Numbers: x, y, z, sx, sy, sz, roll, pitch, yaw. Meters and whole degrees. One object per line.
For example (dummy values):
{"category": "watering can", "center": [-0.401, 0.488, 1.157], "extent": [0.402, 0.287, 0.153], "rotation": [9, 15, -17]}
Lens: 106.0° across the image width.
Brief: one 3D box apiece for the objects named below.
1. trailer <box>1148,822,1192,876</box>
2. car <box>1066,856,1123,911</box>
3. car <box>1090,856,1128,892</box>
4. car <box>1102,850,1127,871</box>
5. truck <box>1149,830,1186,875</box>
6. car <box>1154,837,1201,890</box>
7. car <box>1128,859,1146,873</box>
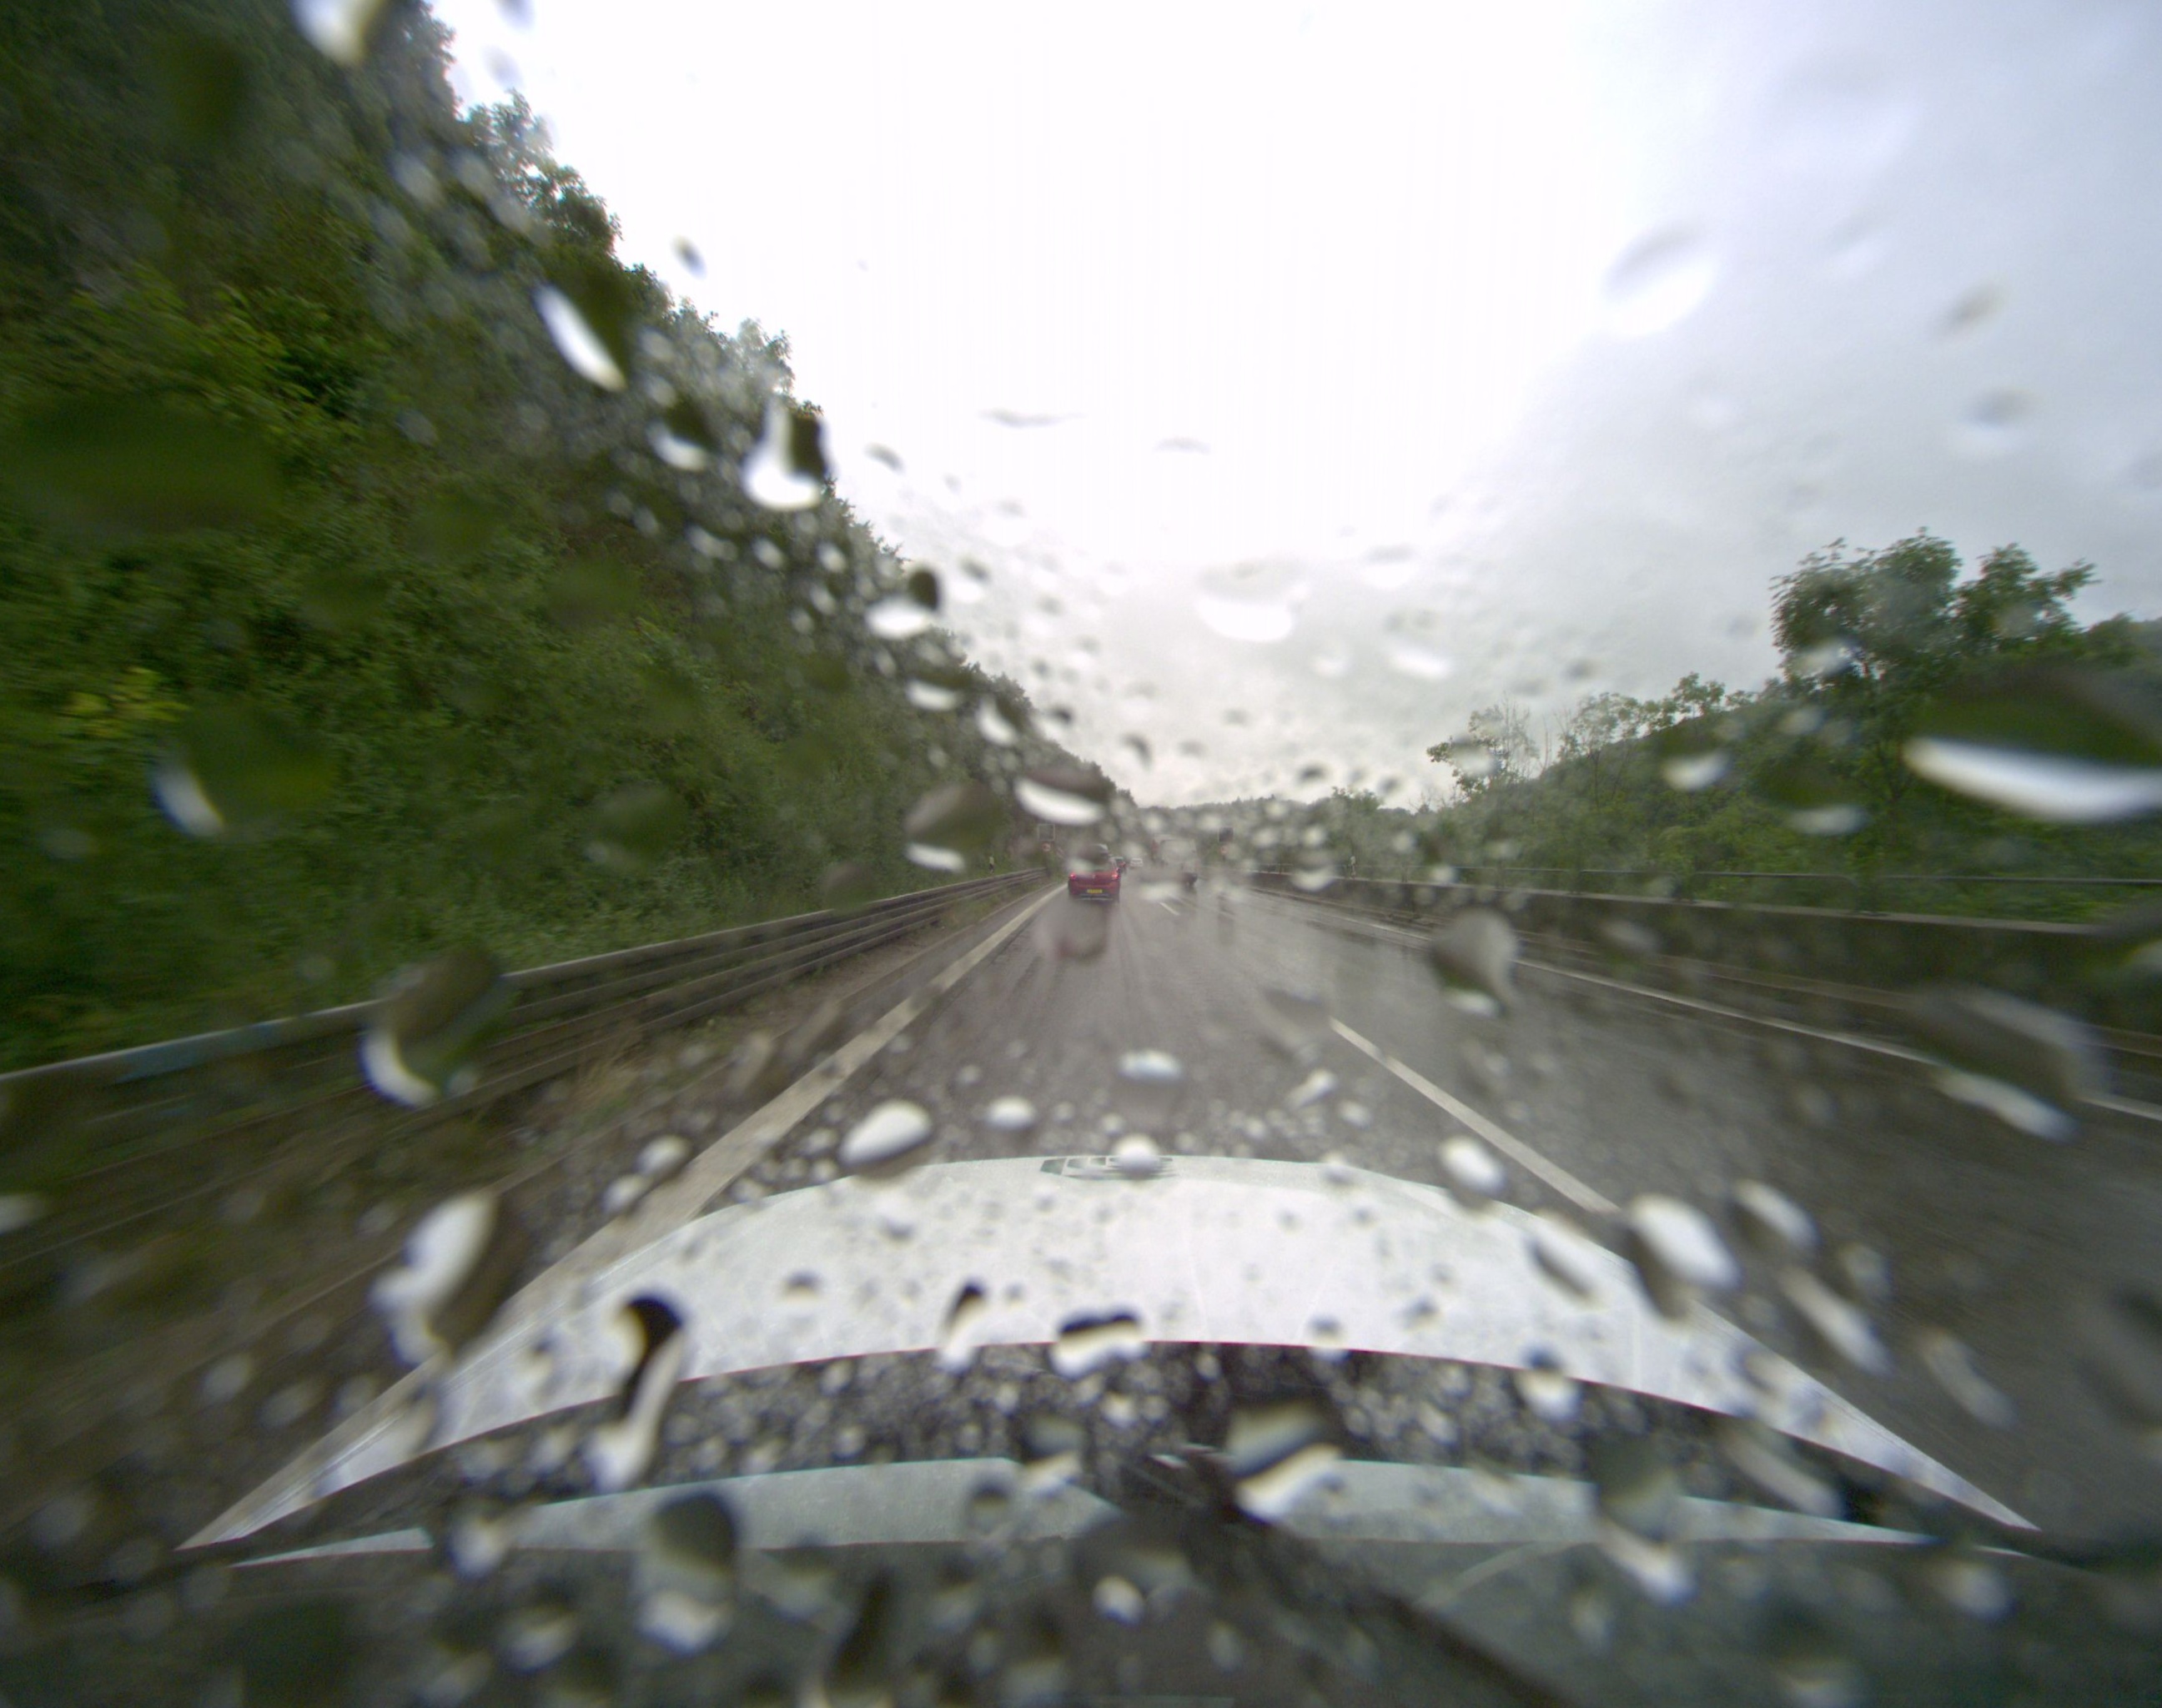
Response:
{"category": "trailer", "center": [7.264, -0.332, 67.675], "extent": [3.203, 3.999, 13.541], "rotation": [-1, -1, 5]}
{"category": "car", "center": [0.513, 0.991, 28.219], "extent": [1.751, 1.684, 4.001], "rotation": [-3, -1, 2]}
{"category": "car", "center": [1.499, 1.014, 42.233], "extent": [1.825, 1.715, 3.647], "rotation": [-3, -1, 3]}
{"category": "car", "center": [3.033, 0.616, 72.334], "extent": [1.865, 1.706, 3.895], "rotation": [-3, -1, 6]}
{"category": "truck", "center": [7.888, -0.125, 74.711], "extent": [3.204, 3.978, 5.446], "rotation": [-1, -1, 5]}
{"category": "car", "center": [5.390, 0.514, 46.555], "extent": [2.197, 2.794, 7.388], "rotation": [1, 0, 3]}
{"category": "car", "center": [7.220, 1.492, 103.829], "extent": [1.983, 1.639, 4.008], "rotation": [-3, -1, 7]}
